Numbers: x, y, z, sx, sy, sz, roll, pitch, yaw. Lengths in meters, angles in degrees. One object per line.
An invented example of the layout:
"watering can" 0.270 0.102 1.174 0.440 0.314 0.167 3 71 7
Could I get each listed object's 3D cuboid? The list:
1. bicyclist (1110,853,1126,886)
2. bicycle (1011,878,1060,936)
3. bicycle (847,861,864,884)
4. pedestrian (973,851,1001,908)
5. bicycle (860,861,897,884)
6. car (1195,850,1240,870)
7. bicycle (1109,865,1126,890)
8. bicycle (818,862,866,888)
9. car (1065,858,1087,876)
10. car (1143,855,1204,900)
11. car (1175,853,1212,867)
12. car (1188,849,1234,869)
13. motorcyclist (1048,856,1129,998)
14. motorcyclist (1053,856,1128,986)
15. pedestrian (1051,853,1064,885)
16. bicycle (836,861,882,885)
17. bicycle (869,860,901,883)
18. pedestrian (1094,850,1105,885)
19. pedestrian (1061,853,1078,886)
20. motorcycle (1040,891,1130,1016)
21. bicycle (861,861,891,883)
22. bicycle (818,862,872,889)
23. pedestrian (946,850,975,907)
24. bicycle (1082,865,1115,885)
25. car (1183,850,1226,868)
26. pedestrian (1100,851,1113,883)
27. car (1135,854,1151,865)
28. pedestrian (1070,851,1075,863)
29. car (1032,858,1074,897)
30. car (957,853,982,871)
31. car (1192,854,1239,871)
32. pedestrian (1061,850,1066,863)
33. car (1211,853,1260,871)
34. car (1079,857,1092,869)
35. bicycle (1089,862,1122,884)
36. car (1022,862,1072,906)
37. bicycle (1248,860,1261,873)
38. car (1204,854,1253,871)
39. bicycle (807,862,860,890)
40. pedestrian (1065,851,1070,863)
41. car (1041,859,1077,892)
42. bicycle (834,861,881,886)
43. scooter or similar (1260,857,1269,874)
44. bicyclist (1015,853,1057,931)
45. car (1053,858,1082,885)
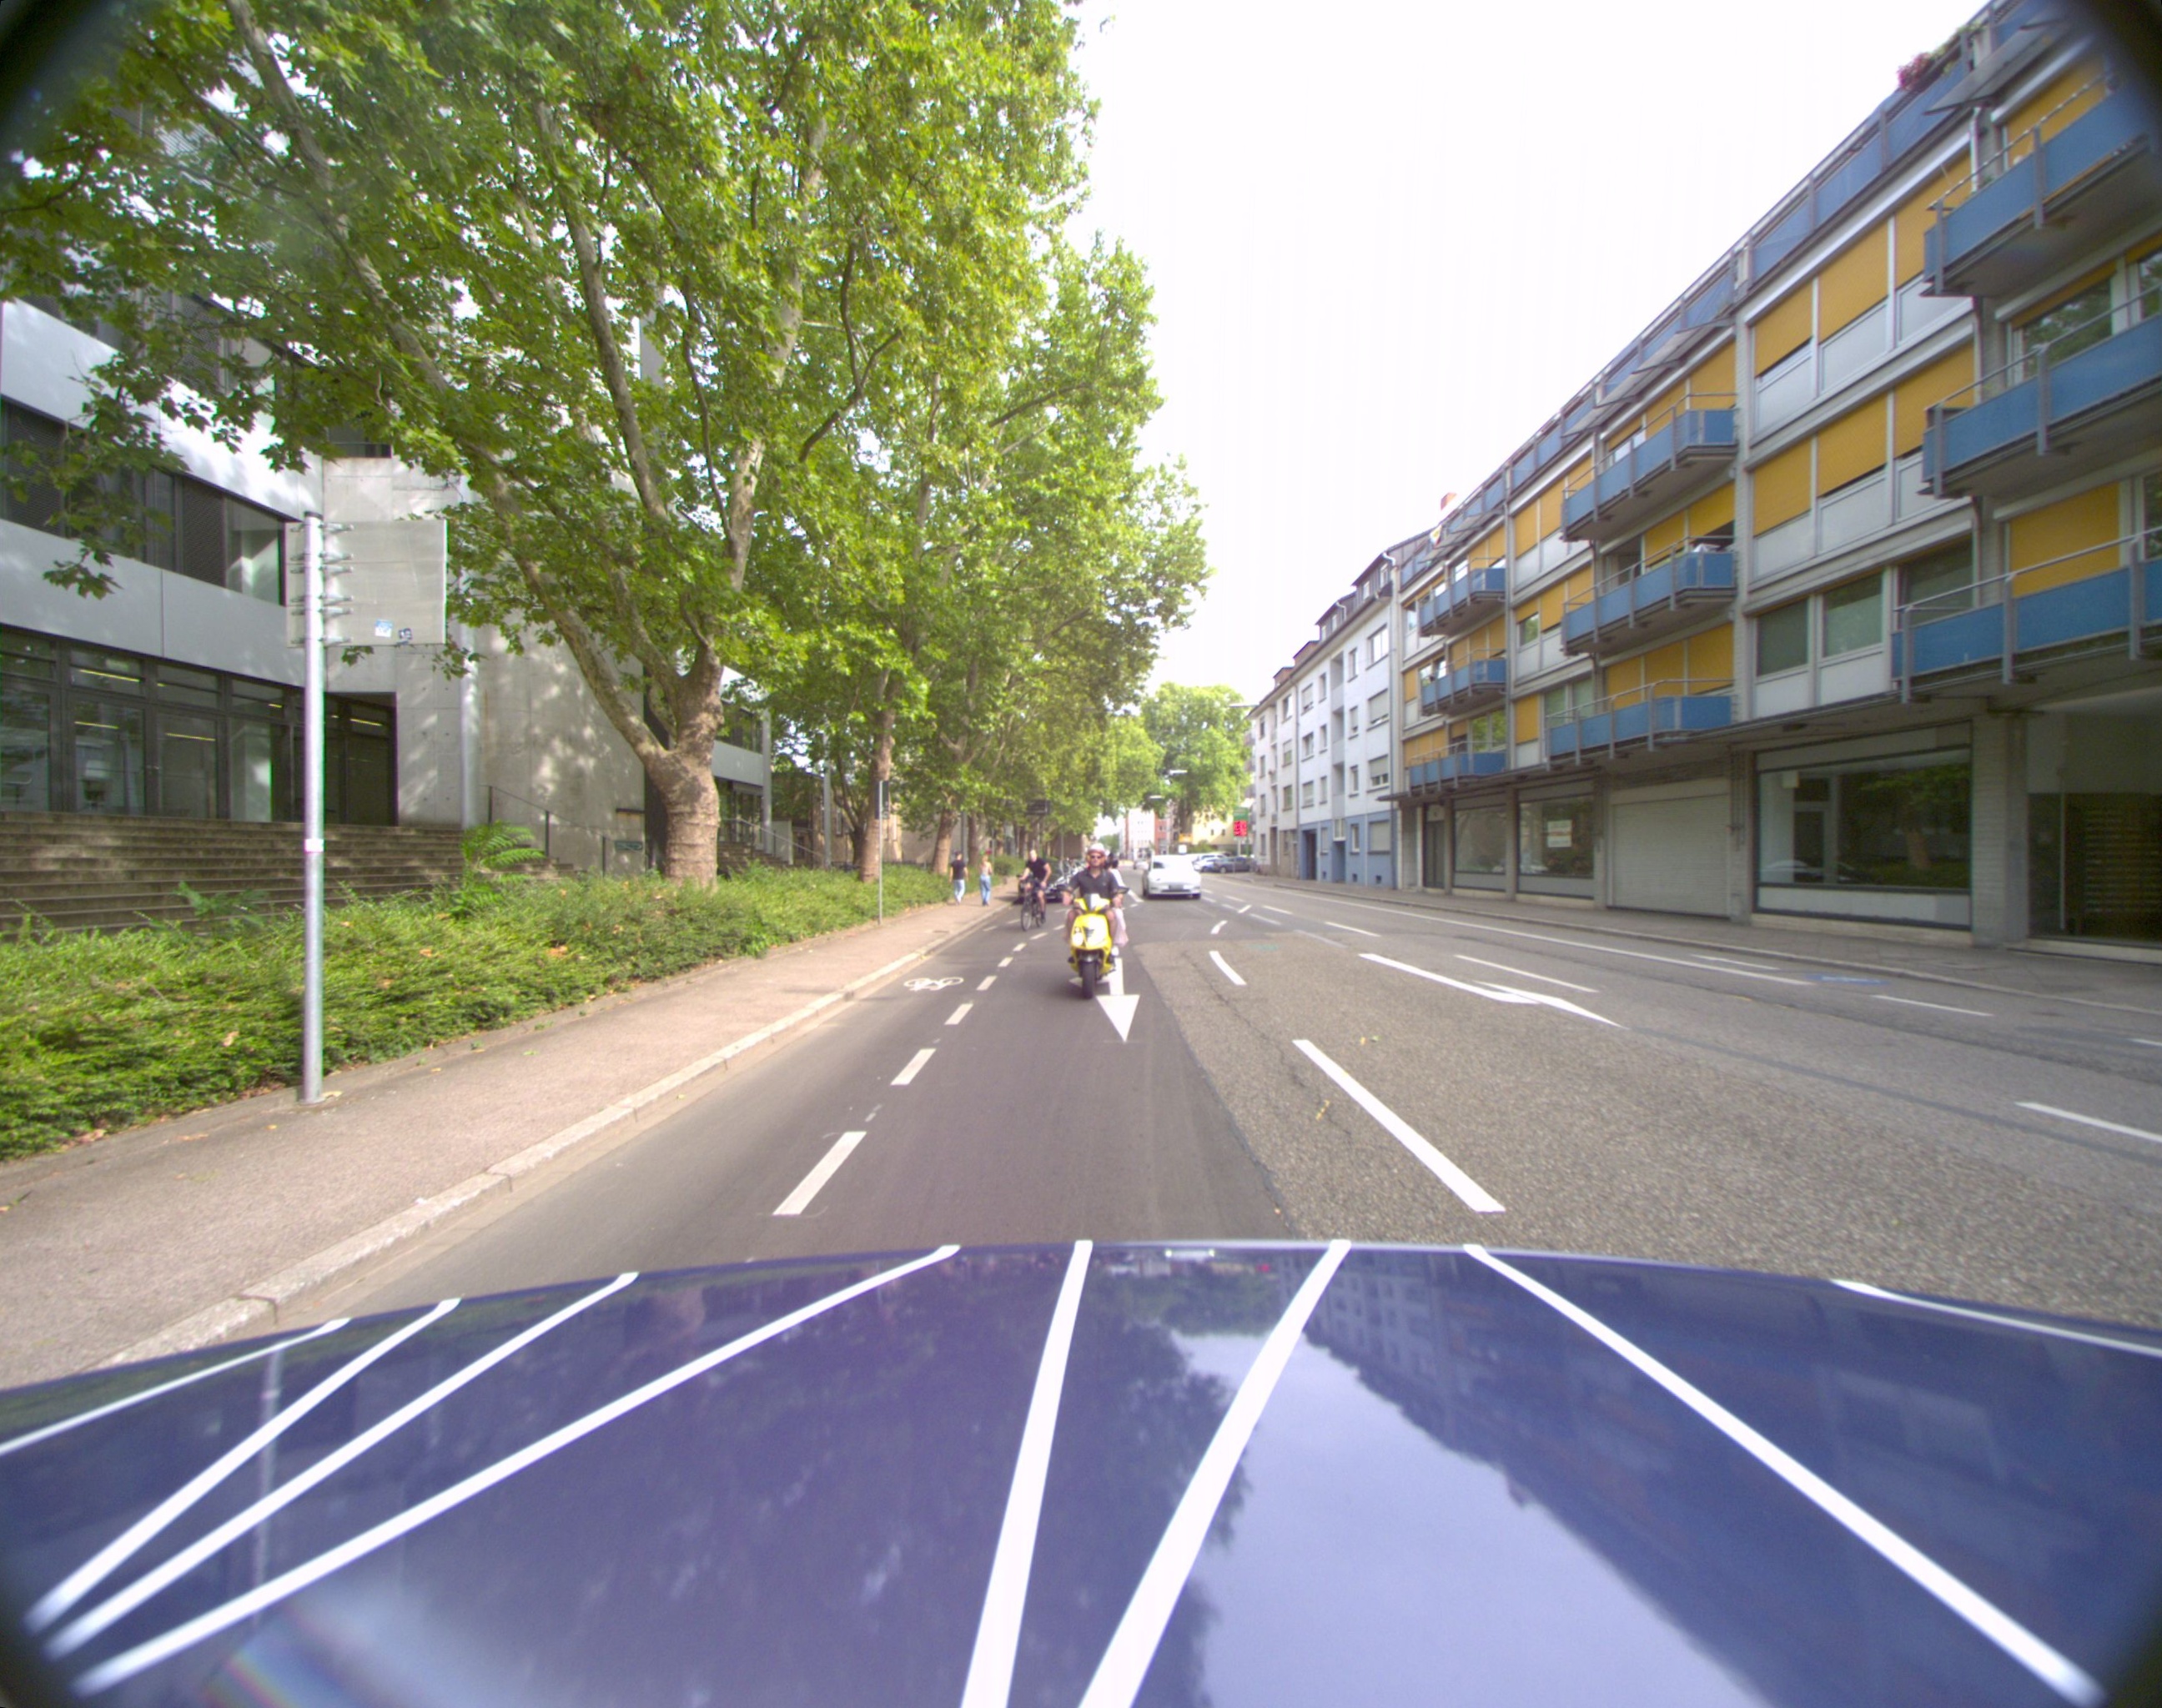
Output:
"bicyclist" 1.797 0.756 37.213 0.748 1.590 0.819 -1 0 2
"bicycle" -0.999 1.163 17.150 0.763 1.162 1.950 -1 0 6
"bicycle" -10.996 0.901 37.080 0.492 1.111 1.437 1 0 -4
"pedestrian" -3.002 0.791 24.324 0.712 1.773 1.033 1 1 0
"bicycle" -9.829 0.884 36.940 1.701 1.111 0.622 1 0 -18
"car" 13.999 0.597 78.221 4.221 1.837 1.924 -3 0 1
"bicycle" 1.796 1.143 37.209 0.763 1.162 1.950 -1 0 2
"bicycle" -10.550 0.908 33.602 1.919 1.111 0.673 1 0 1
"car" -0.442 1.048 63.964 1.647 1.438 3.881 -2 0 -3
"car" 3.420 0.829 28.930 2.000 1.556 4.552 -1 0 3
"car" 14.649 0.811 98.828 4.529 1.596 1.754 -3 0 2
"car" 14.529 0.563 84.985 4.778 1.923 1.994 -3 0 2
"motorcyclist" 0.105 0.837 9.022 0.904 1.608 0.691 -1 1 4
"motorcyclist" 0.141 0.831 9.731 0.904 1.608 0.691 -1 1 4
"pedestrian" -1.371 0.856 44.413 0.723 1.844 0.703 -2 1 1
"bicycle" -10.426 0.890 35.711 1.919 1.111 0.673 1 0 1
"bicycle" -9.936 0.891 38.574 1.544 1.111 0.468 1 0 -6
"pedestrian" 1.039 0.759 43.127 0.476 1.923 0.744 -2 1 -10
"pedestrian" -0.640 0.855 42.636 0.873 1.806 0.780 -2 1 1
"motorcycle" 0.127 1.112 9.312 0.904 1.190 2.631 -1 0 4
"bicycle" -10.110 0.891 37.523 1.383 1.111 0.510 1 0 -14
"bicycle" -10.110 0.906 32.552 2.084 1.111 0.673 1 0 1
"pedestrian" -3.859 0.771 24.424 0.716 1.789 1.033 1 1 0
"bicycle" 0.987 1.176 42.831 1.740 1.099 0.552 -2 1 -10
"car" 14.176 0.569 87.326 4.627 1.848 1.950 -3 0 2
"pedestrian" 1.502 0.776 44.574 0.522 1.834 0.744 -2 1 -14
"car" 7.967 0.694 98.294 1.762 1.419 4.098 1 0 0
"pedestrian" -1.255 0.476 111.611 0.592 1.775 0.476 3 1 0
"car" -1.190 0.997 33.063 1.539 1.534 2.600 -2 0 4
"car" -10.080 0.747 68.996 1.673 1.441 4.299 -1 -2 -1
"car" 13.310 0.826 75.479 4.281 1.442 1.874 -3 0 1
"pedestrian" -2.635 0.402 111.962 0.643 1.823 0.645 3 1 0
"car" 14.326 0.751 70.811 4.161 1.504 1.837 -3 0 1
"car" 0.597 1.205 102.696 1.602 1.438 4.105 -2 0 1
"bicycle" 1.444 1.100 44.232 1.796 1.210 0.552 -2 1 -16
"car" -1.227 1.063 28.685 1.702 1.417 4.421 -2 0 -1
"bicycle" 13.076 0.947 57.281 0.598 0.945 1.663 -2 0 1
"car" 14.219 0.785 73.231 4.311 1.442 1.910 -3 0 1
"bicycle" -10.161 0.916 31.216 1.919 1.111 0.673 1 0 1
"pedestrian" -1.980 0.477 111.809 0.502 1.775 0.527 3 1 0
"car" -1.049 1.019 37.941 1.532 1.493 3.660 -2 0 1
"bicycle" -10.182 0.892 34.619 1.919 1.111 0.673 1 0 1
"scooter or similar" 13.208 0.828 54.571 0.350 1.214 1.202 -2 0 1
"bicyclist" -1.003 0.833 17.144 0.764 1.698 0.918 -1 0 5
"car" -0.841 1.029 47.418 1.685 1.507 4.543 -3 0 -1
